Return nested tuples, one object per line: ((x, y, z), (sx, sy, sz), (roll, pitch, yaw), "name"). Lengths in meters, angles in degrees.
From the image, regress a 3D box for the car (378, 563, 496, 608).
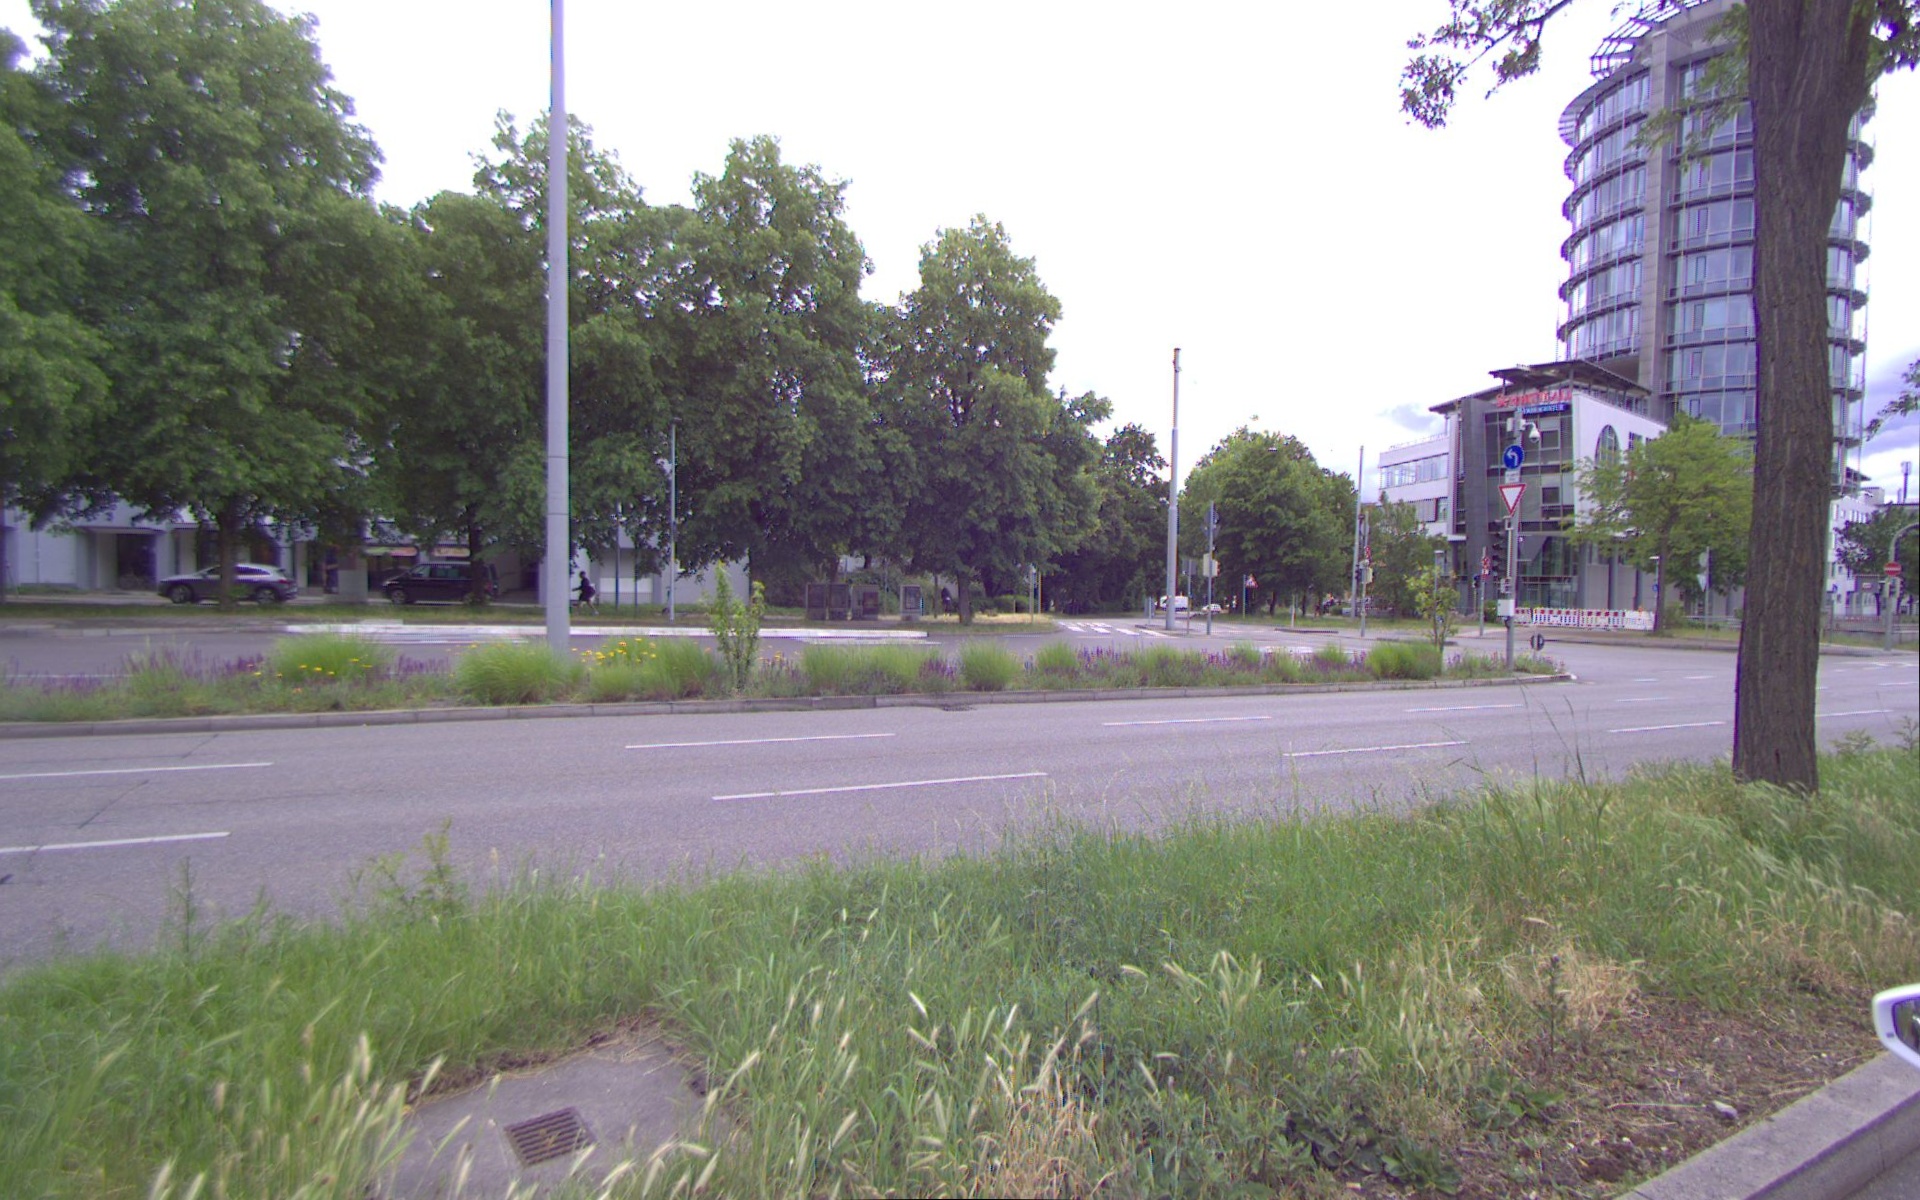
((-23.315, -0.641, 44.945), (4.345, 1.872, 1.781), (1, 1, -16), "car")

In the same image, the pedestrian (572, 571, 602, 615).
((-13.579, -0.257, 36.588), (0.894, 1.578, 0.766), (1, 1, -30), "pedestrian")

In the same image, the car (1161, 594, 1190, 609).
((37.726, 0.248, 175.672), (4.475, 2.370, 1.994), (2, 0, -16), "car")

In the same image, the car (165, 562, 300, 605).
((-28.064, -0.611, 38.897), (3.948, 1.532, 1.748), (1, 1, -27), "car")

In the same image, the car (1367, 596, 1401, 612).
((25.043, 0.233, 59.391), (1.684, 0.888, 0.776), (1, 0, 7), "car")

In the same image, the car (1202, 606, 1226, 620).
((41.108, 2.123, 162.589), (1.699, 2.040, 3.977), (1, 1, -23), "car")

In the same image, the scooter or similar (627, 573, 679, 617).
((-11.868, -0.186, 38.847), (1.835, 1.686, 0.645), (1, 1, -43), "scooter or similar")
